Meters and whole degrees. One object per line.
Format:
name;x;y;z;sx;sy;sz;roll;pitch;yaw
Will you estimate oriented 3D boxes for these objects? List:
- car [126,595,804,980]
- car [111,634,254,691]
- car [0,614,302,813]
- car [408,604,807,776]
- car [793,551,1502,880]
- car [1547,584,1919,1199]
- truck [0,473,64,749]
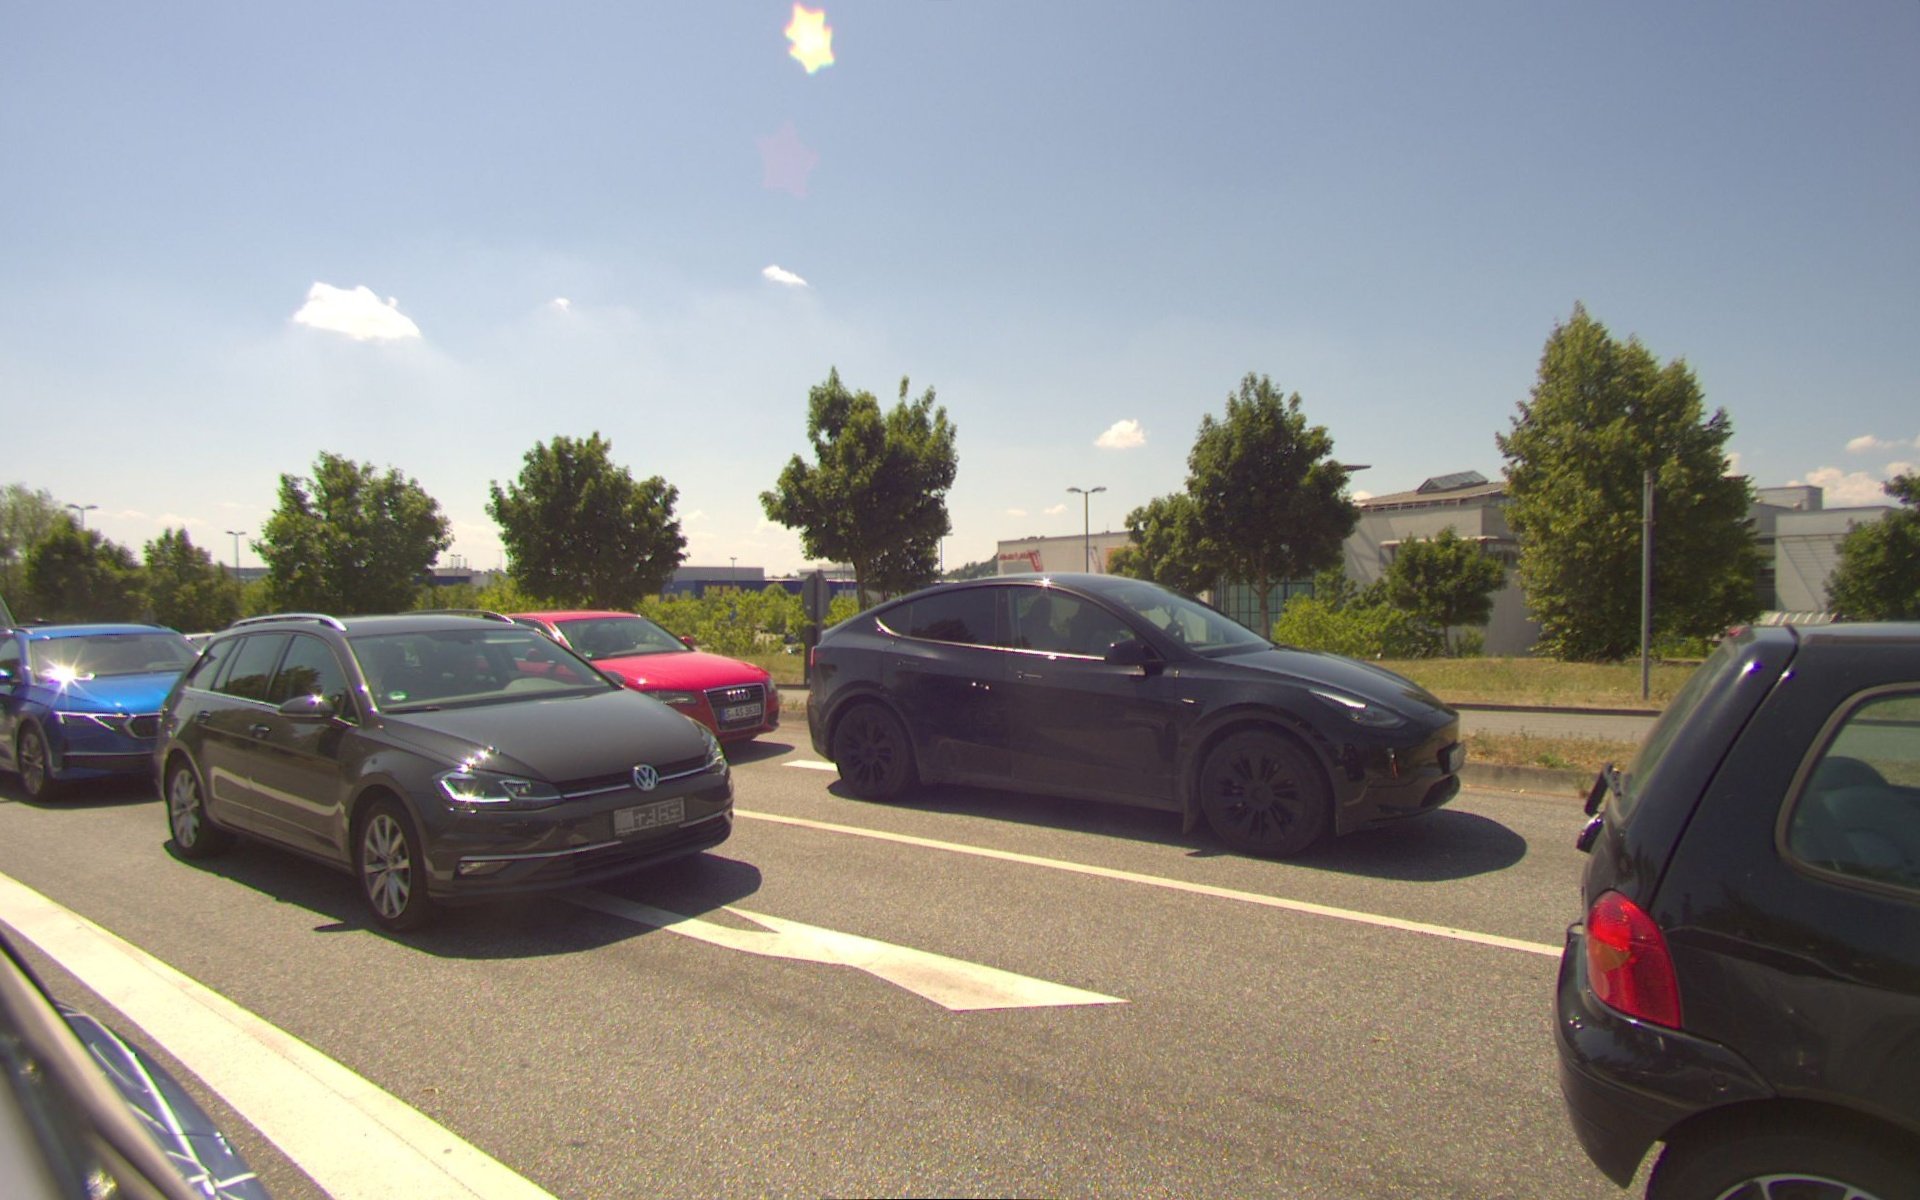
car;-3.132;0.769;5.987;4.420;1.493;1.762;-1;0;36
car;-28.908;2.316;37.698;3.949;1.975;1.997;-1;0;5
car;-8.323;0.952;9.635;4.474;1.473;1.695;-2;0;32
car;-3.771;0.787;10.478;4.440;1.399;1.646;-1;1;36
car;1.106;0.586;7.039;4.496;1.613;1.859;-1;0;36
car;2.881;0.673;1.519;3.295;1.418;1.604;-1;0;37
truck;-15.112;0.287;13.713;7.176;3.373;2.390;-3;-1;31
